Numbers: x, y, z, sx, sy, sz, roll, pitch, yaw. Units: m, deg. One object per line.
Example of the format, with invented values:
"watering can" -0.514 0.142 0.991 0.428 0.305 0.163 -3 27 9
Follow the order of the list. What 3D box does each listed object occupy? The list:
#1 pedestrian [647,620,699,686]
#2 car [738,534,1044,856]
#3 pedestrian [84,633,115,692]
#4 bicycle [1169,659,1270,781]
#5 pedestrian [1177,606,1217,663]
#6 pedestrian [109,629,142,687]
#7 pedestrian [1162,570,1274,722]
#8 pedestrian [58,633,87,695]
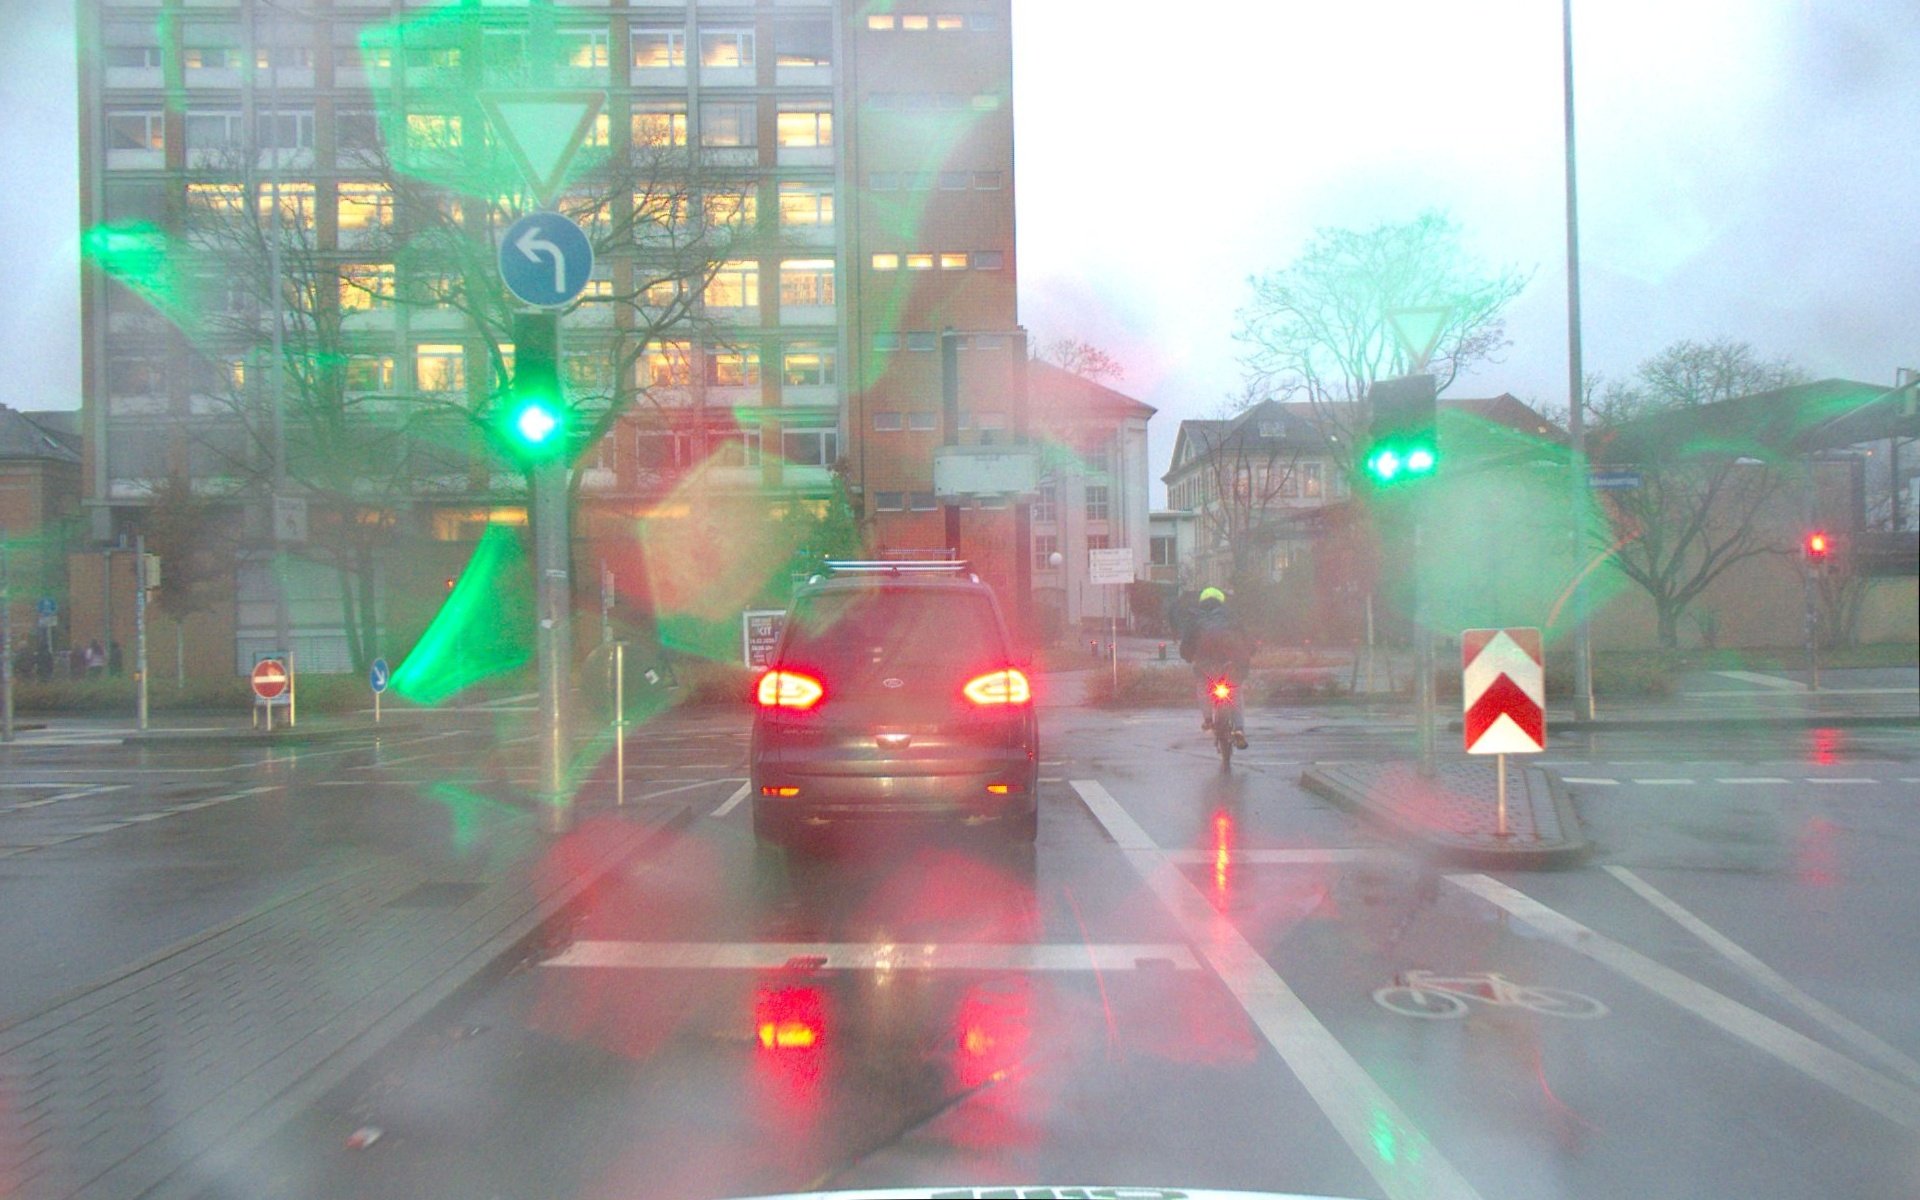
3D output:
"pedestrian" -7.787 1.445 44.882 1.044 1.717 0.810 -2 1 19
"car" -0.413 0.597 11.740 1.741 1.832 4.423 -1 -1 -1
"pedestrian" -25.895 1.880 49.767 0.663 1.717 0.603 -3 2 -40
"bicycle" 2.368 1.071 15.310 0.550 0.963 2.095 -2 0 -1
"pedestrian" 7.418 1.069 51.791 0.896 1.717 0.922 1 1 41
"pedestrian" -25.434 1.753 50.386 0.713 1.717 0.749 -1 -1 -40
"pedestrian" 2.383 0.414 15.378 0.857 1.340 0.848 -2 0 -1
"pedestrian" -26.484 1.904 49.353 0.580 1.812 0.758 -3 0 -39
